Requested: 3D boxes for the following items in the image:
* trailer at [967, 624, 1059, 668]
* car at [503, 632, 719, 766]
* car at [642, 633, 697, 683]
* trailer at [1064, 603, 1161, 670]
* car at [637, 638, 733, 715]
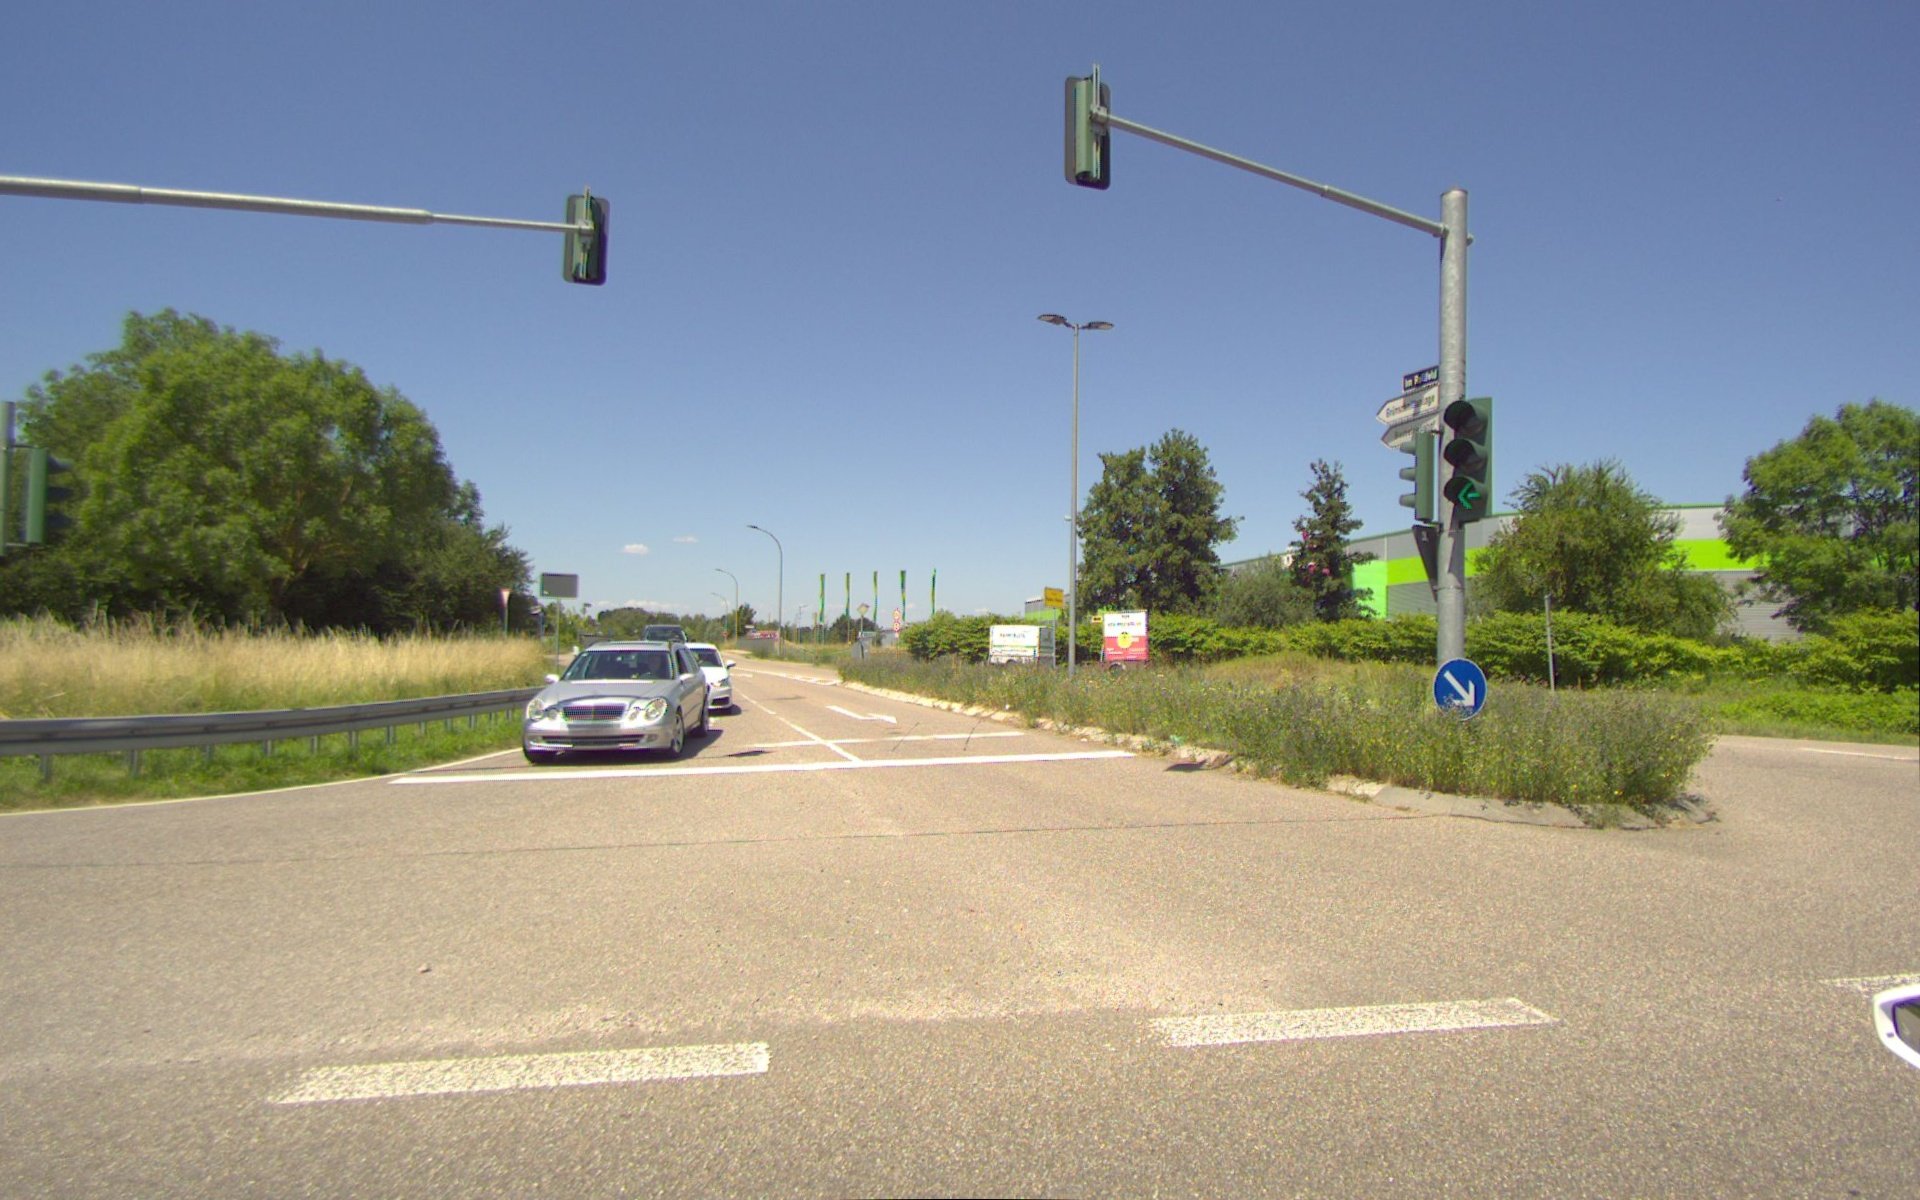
[{"bbox_3d":[2.336,2.023,44.828,3.697,1.814,1.821,0,-2,35],"label":"trailer"},{"bbox_3d":[-4.528,1.209,13.833,1.843,1.476,4.964,1,-2,-8],"label":"car"},{"bbox_3d":[-10.305,1.996,35.529,1.743,1.646,4.219,1,-2,-17],"label":"car"},{"bbox_3d":[6.619,1.567,43.651,3.695,2.800,1.821,0,-2,34],"label":"trailer"},{"bbox_3d":[-5.715,1.513,20.916,1.742,1.417,3.951,1,-2,-15],"label":"car"}]
